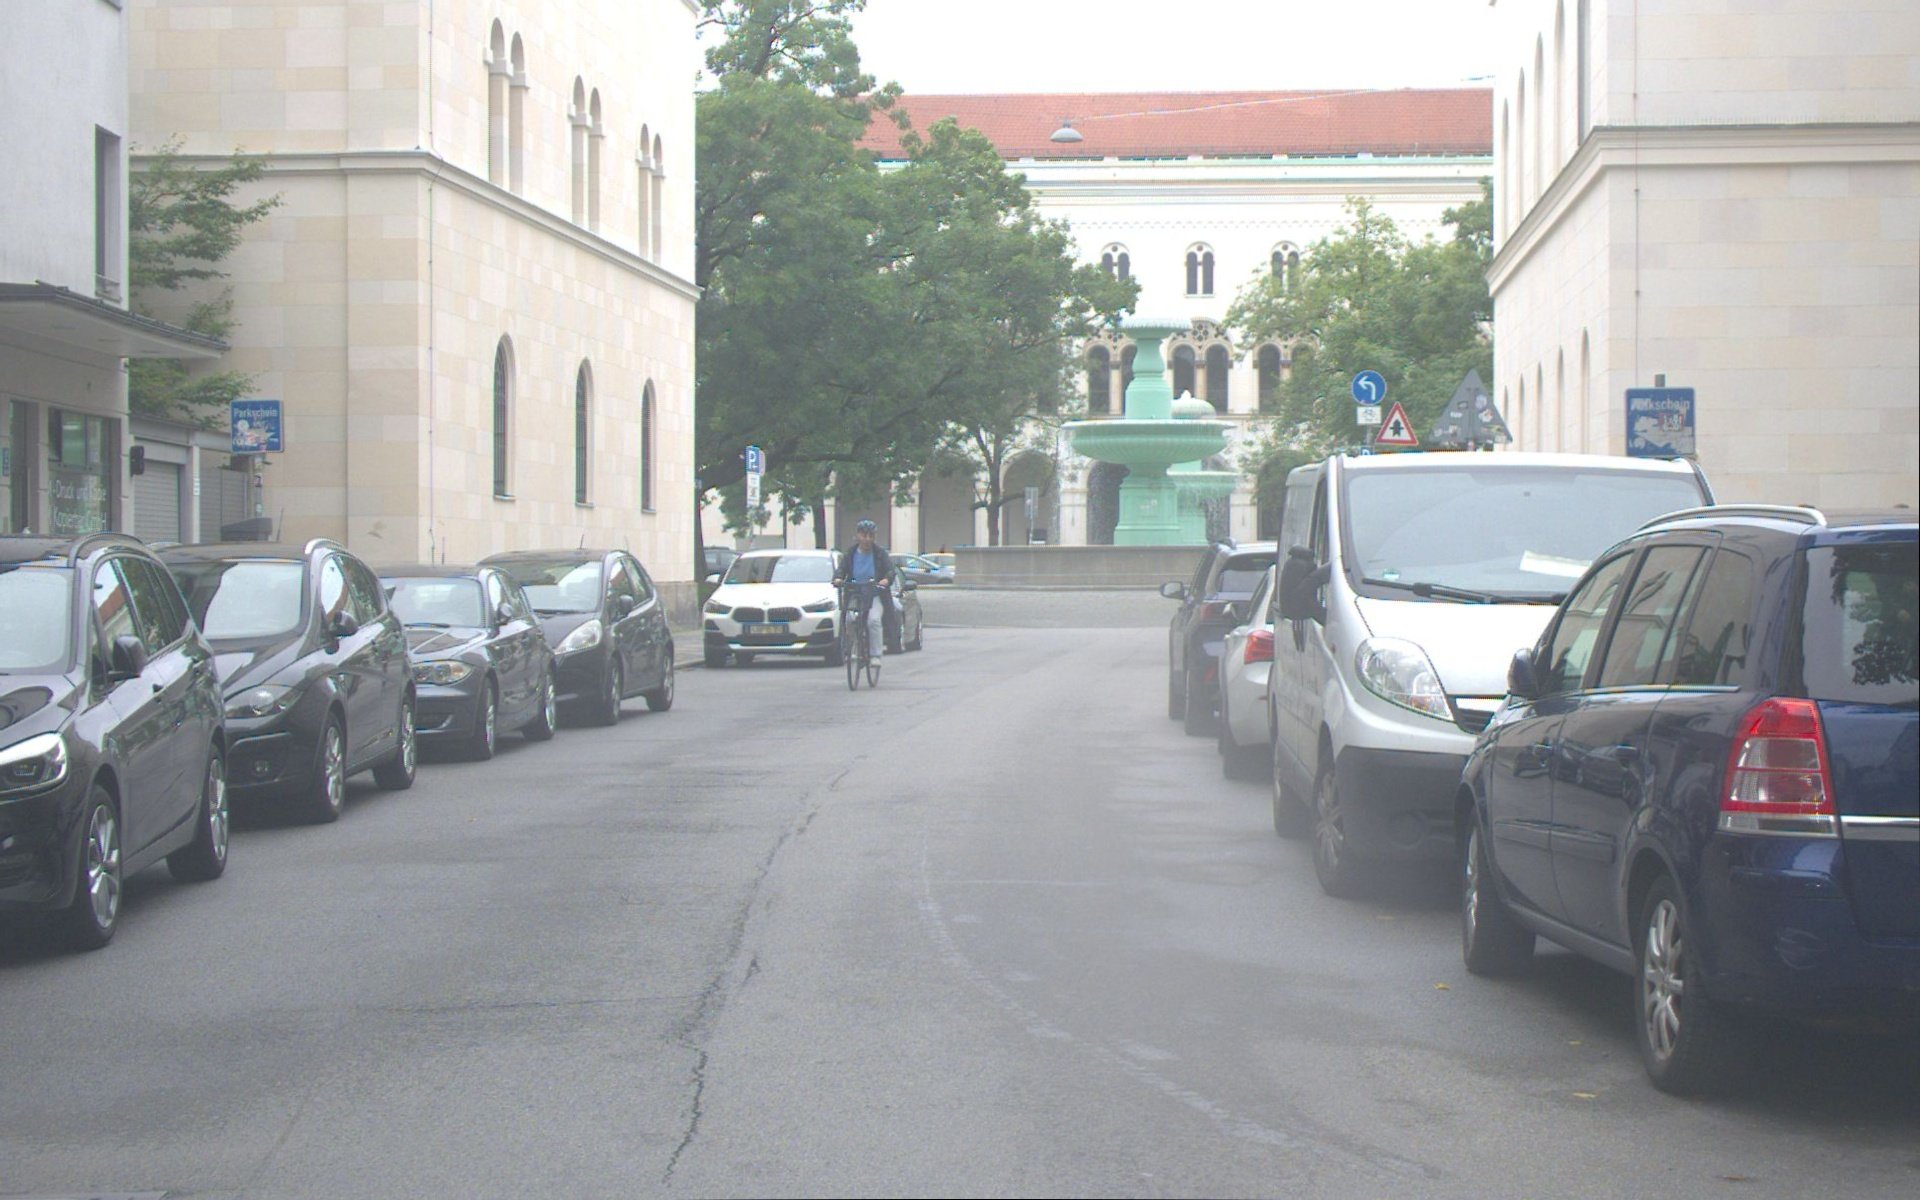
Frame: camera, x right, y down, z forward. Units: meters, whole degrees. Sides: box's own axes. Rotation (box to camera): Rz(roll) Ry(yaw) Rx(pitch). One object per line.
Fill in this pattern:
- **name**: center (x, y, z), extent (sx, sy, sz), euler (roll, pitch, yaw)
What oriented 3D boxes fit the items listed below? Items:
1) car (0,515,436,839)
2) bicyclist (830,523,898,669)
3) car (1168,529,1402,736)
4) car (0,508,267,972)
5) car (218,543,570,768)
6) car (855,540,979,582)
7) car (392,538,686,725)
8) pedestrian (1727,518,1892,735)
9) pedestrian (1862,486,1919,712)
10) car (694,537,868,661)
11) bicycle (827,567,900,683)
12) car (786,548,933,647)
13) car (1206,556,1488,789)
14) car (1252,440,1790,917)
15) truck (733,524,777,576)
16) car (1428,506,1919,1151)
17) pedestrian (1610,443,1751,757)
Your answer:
- **car**: center (-4.354, 0.364, 20.350), extent (1.872, 1.652, 4.080), euler (-2, 2, -1)
- **bicyclist**: center (-1.026, -0.050, 36.926), extent (0.657, 1.545, 0.887), euler (-1, 0, 2)
- **car**: center (2.644, 0.220, 28.708), extent (1.747, 1.588, 3.956), euler (1, 1, 3)
- **car**: center (-4.256, 0.469, 14.664), extent (1.872, 1.652, 4.591), euler (-2, 2, -3)
- **car**: center (-4.144, 0.355, 25.781), extent (1.751, 1.448, 4.015), euler (-2, 2, 3)
- **car**: center (-1.405, -1.307, 114.681), extent (3.987, 1.371, 2.000), euler (0, 1, 4)
- **car**: center (-3.655, 0.226, 30.531), extent (1.751, 1.448, 4.015), euler (-1, 2, 5)
- **pedestrian**: center (6.156, 0.178, 24.927), extent (0.949, 1.542, 0.674), euler (0, 1, -16)
- **pedestrian**: center (6.992, -0.017, 25.181), extent (0.588, 1.627, 0.877), euler (1, 1, 5)
- **car**: center (-2.335, -0.029, 45.783), extent (1.778, 1.529, 4.211), euler (-1, 0, 4)
- **bicycle**: center (-1.022, 0.250, 36.843), extent (0.648, 1.193, 1.950), euler (-1, 1, 2)
- **car**: center (-1.478, -0.048, 52.124), extent (1.699, 1.388, 4.211), euler (-1, 0, 5)
- **car**: center (2.573, 0.424, 23.644), extent (1.673, 1.412, 4.201), euler (1, 1, 3)
- **car**: center (2.464, 0.267, 16.285), extent (1.882, 1.917, 4.874), euler (0, 1, 2)
- **truck**: center (-10.169, -2.496, 170.177), extent (1.993, 2.480, 4.001), euler (0, 1, -6)
- **car**: center (2.702, 0.519, 10.618), extent (1.807, 1.594, 4.216), euler (0, 1, -2)
- **pedestrian**: center (5.101, -0.010, 24.386), extent (0.793, 2.190, 0.814), euler (0, 1, -1)
